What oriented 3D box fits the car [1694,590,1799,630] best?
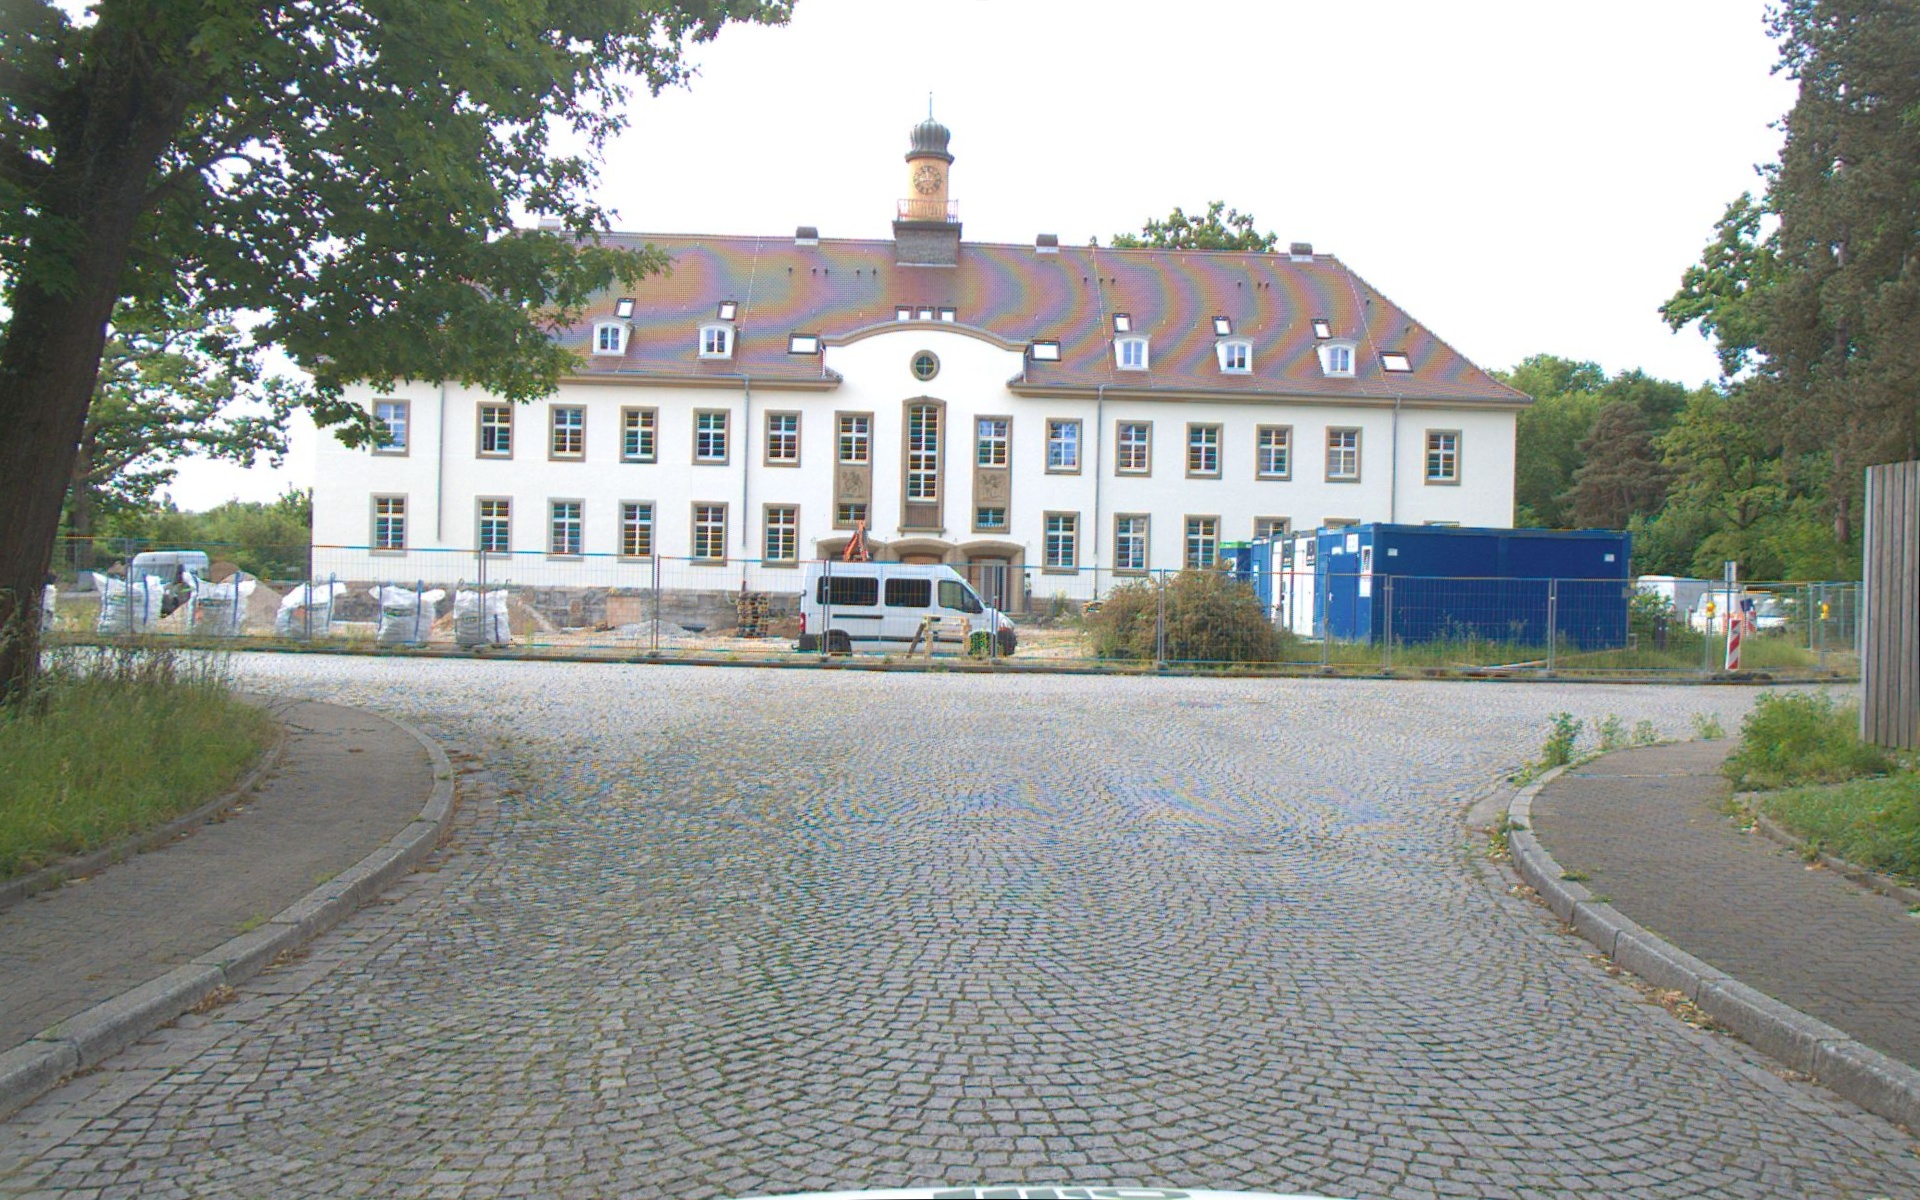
[{"bbox_3d":[31.019,0.400,65.204,4.391,1.528,1.744,1,0,-34],"label":"car"}]

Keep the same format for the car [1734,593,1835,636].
[{"bbox_3d":[30.700,0.554,61.550,3.938,1.513,1.603,1,1,-34],"label":"car"}]

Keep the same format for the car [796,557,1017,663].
[{"bbox_3d":[-1.271,0.241,39.994,5.155,2.385,1.910,1,0,-1],"label":"car"}]

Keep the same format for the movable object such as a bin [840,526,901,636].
[{"bbox_3d":[-3.343,-0.663,61.148,1.955,3.837,5.311,1,0,-5],"label":"movable object such as a bin"}]

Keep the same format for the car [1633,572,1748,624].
[{"bbox_3d":[30.050,-0.062,68.003,5.355,2.078,1.744,1,0,-34],"label":"car"}]
